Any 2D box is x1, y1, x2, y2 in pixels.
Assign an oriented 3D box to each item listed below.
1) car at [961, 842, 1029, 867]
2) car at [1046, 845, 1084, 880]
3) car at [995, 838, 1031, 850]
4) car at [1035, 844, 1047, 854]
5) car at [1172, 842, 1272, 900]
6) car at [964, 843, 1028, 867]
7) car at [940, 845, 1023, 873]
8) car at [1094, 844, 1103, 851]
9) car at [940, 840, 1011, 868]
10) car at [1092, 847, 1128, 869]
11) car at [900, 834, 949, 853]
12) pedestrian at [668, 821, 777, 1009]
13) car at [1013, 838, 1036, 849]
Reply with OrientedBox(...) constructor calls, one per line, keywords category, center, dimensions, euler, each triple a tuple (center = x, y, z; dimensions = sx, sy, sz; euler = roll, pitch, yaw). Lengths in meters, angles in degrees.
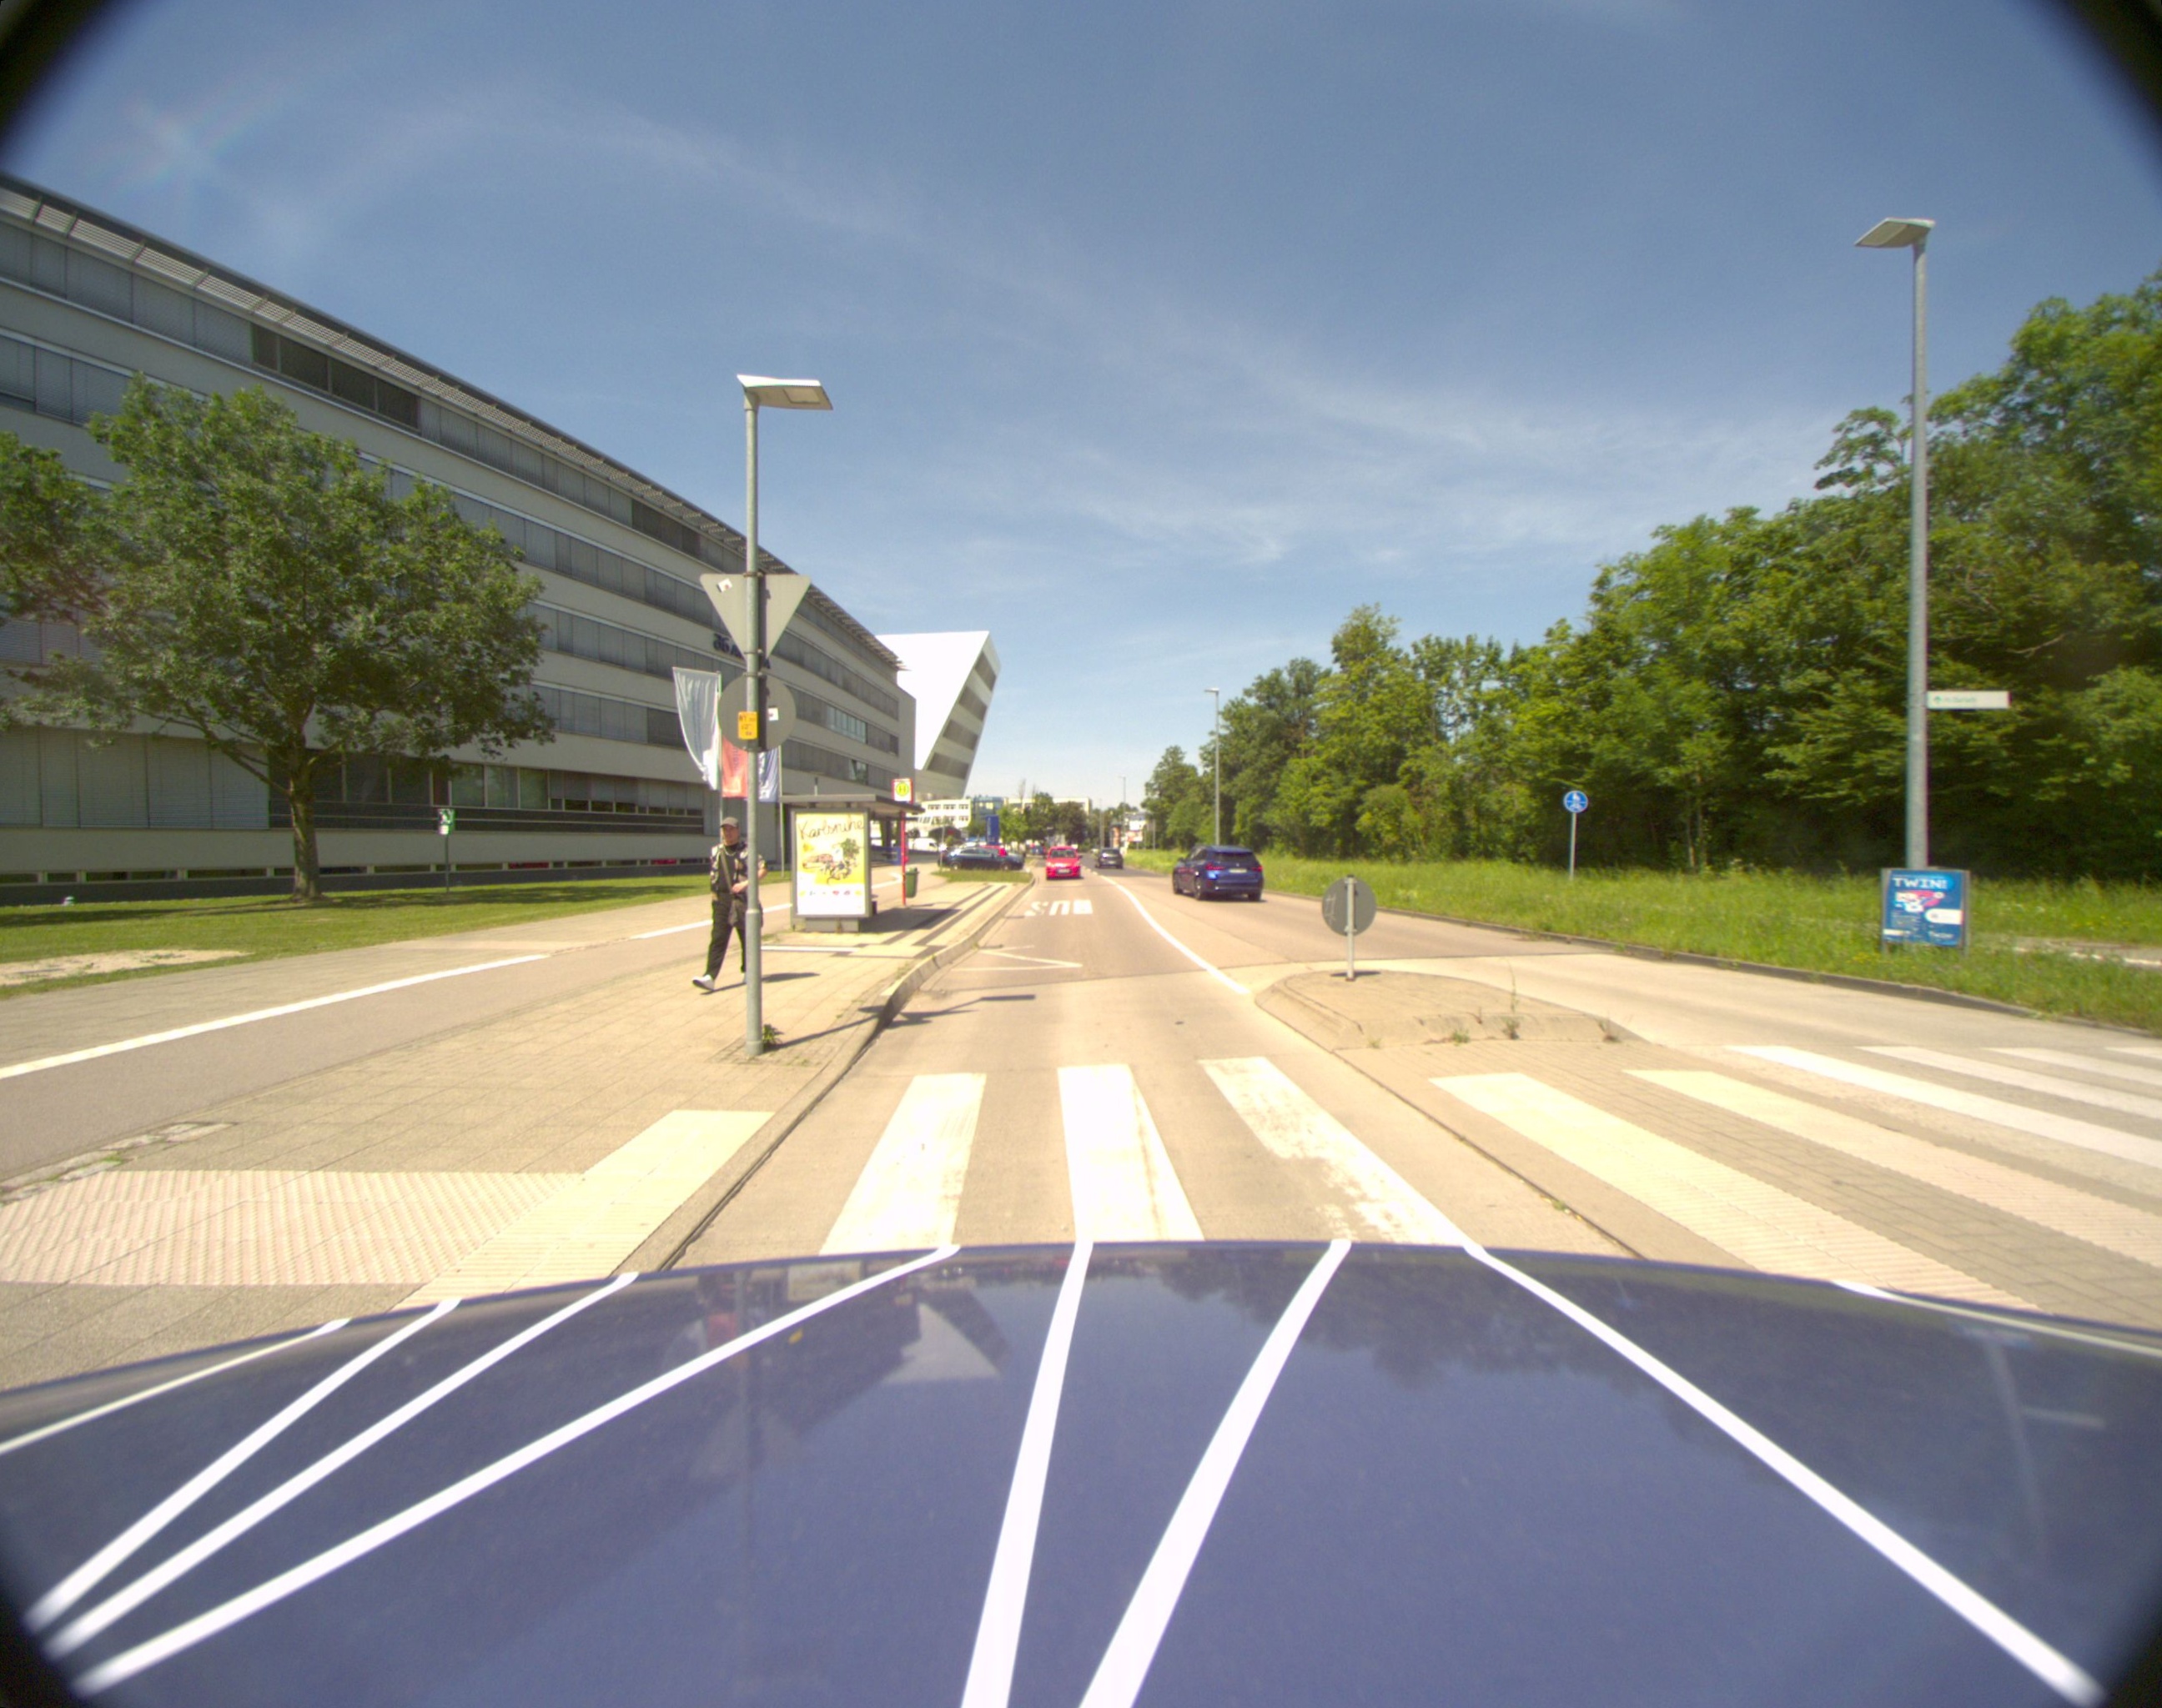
OrientedBox(category="car", center=(-5.654, 0.042, 50.242), dimensions=(4.332, 1.555, 1.785), euler=(1, 1, -1))
OrientedBox(category="car", center=(-0.696, 0.356, 35.746), dimensions=(1.662, 1.495, 3.356), euler=(-2, 1, 0))
OrientedBox(category="car", center=(-12.777, -1.902, 143.734), dimensions=(6.493, 2.137, 2.165), euler=(-2, 2, 4))
OrientedBox(category="car", center=(-6.561, -0.783, 125.098), dimensions=(1.802, 1.490, 3.998), euler=(-2, 1, -3))
OrientedBox(category="car", center=(4.102, 0.488, 22.915), dimensions=(1.999, 1.586, 4.321), euler=(0, -1, -3))
OrientedBox(category="car", center=(-5.318, 0.059, 47.833), dimensions=(3.817, 1.478, 1.655), euler=(0, 2, 0))
OrientedBox(category="car", center=(-5.573, 0.257, 43.021), dimensions=(4.580, 1.424, 1.826), euler=(1, 1, -5))
OrientedBox(category="car", center=(4.011, -1.540, 174.168), dimensions=(1.998, 1.622, 3.999), euler=(-2, 1, 0))
OrientedBox(category="car", center=(-6.285, -0.027, 45.701), dimensions=(3.997, 1.646, 1.839), euler=(0, 2, 0))
OrientedBox(category="car", center=(2.006, 0.259, 53.513), dimensions=(1.999, 1.470, 4.287), euler=(1, 0, -4))
OrientedBox(category="car", center=(-24.015, -1.648, 116.663), dimensions=(6.961, 2.647, 2.255), euler=(-1, 2, 7))
OrientedBox(category="pedestrian", center=(-3.639, 0.591, 7.770), dimensions=(0.710, 1.812, 0.826), euler=(1, 2, -2))
OrientedBox(category="car", center=(-11.107, -2.088, 149.536), dimensions=(4.205, 1.964, 1.703), euler=(-2, 2, 4))
